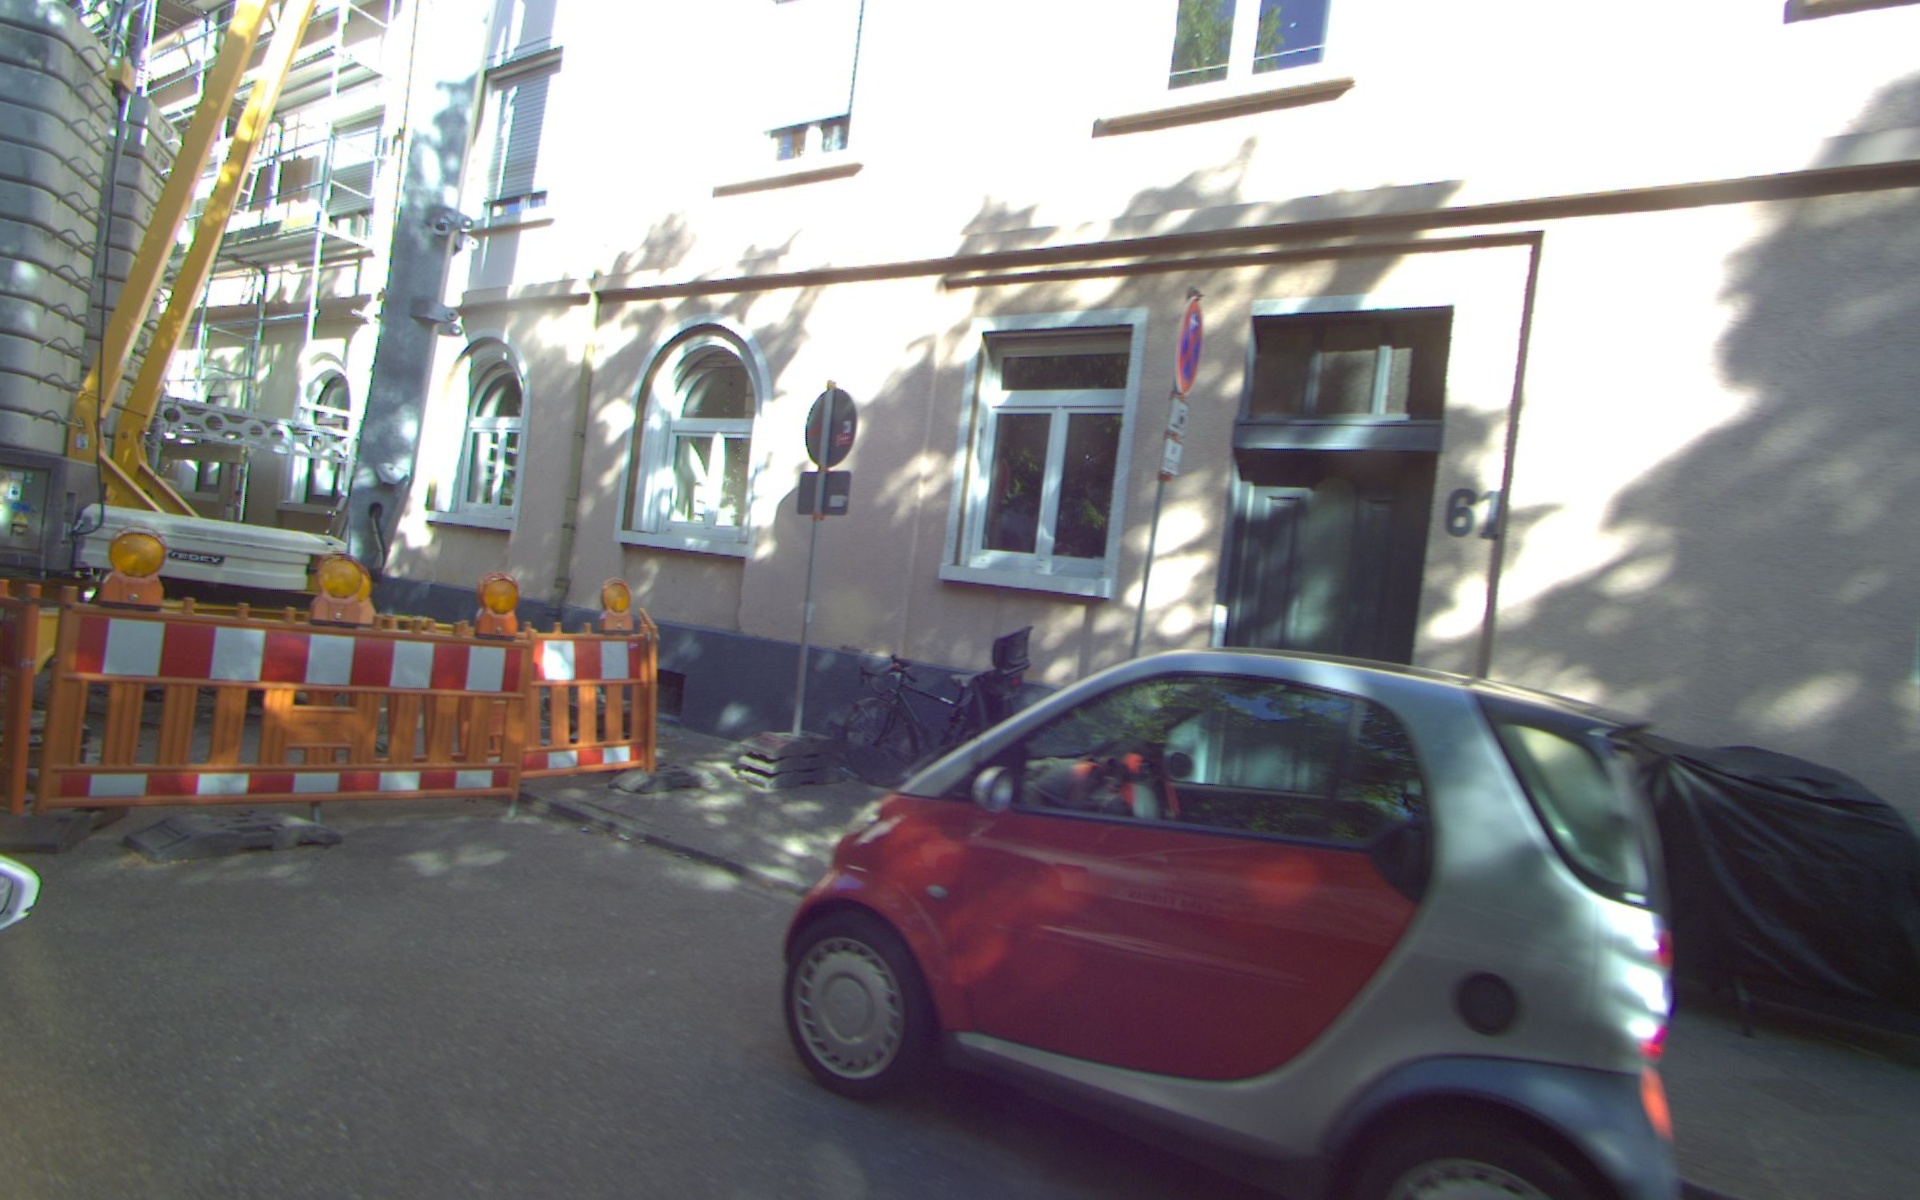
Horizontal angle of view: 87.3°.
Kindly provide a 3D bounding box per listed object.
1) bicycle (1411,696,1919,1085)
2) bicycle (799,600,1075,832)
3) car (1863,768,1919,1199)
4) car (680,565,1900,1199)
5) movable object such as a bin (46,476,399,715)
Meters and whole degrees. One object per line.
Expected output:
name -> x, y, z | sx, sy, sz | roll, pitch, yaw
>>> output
bicycle -> 3.475, 1.268, 4.718 | 2.305, 1.298, 0.541 | 7, 0, 33
bicycle -> -0.218, 0.794, 7.457 | 1.988, 1.364, 0.445 | 7, 1, 32
car -> 3.840, 1.263, 0.887 | 4.174, 1.482, 1.763 | 7, 0, 32
car -> 0.760, 0.869, 3.241 | 2.920, 1.577, 1.488 | 7, 0, 32
movable object such as a bin -> -5.774, -0.023, 8.142 | 1.852, 1.545, 1.619 | 7, 0, -23
